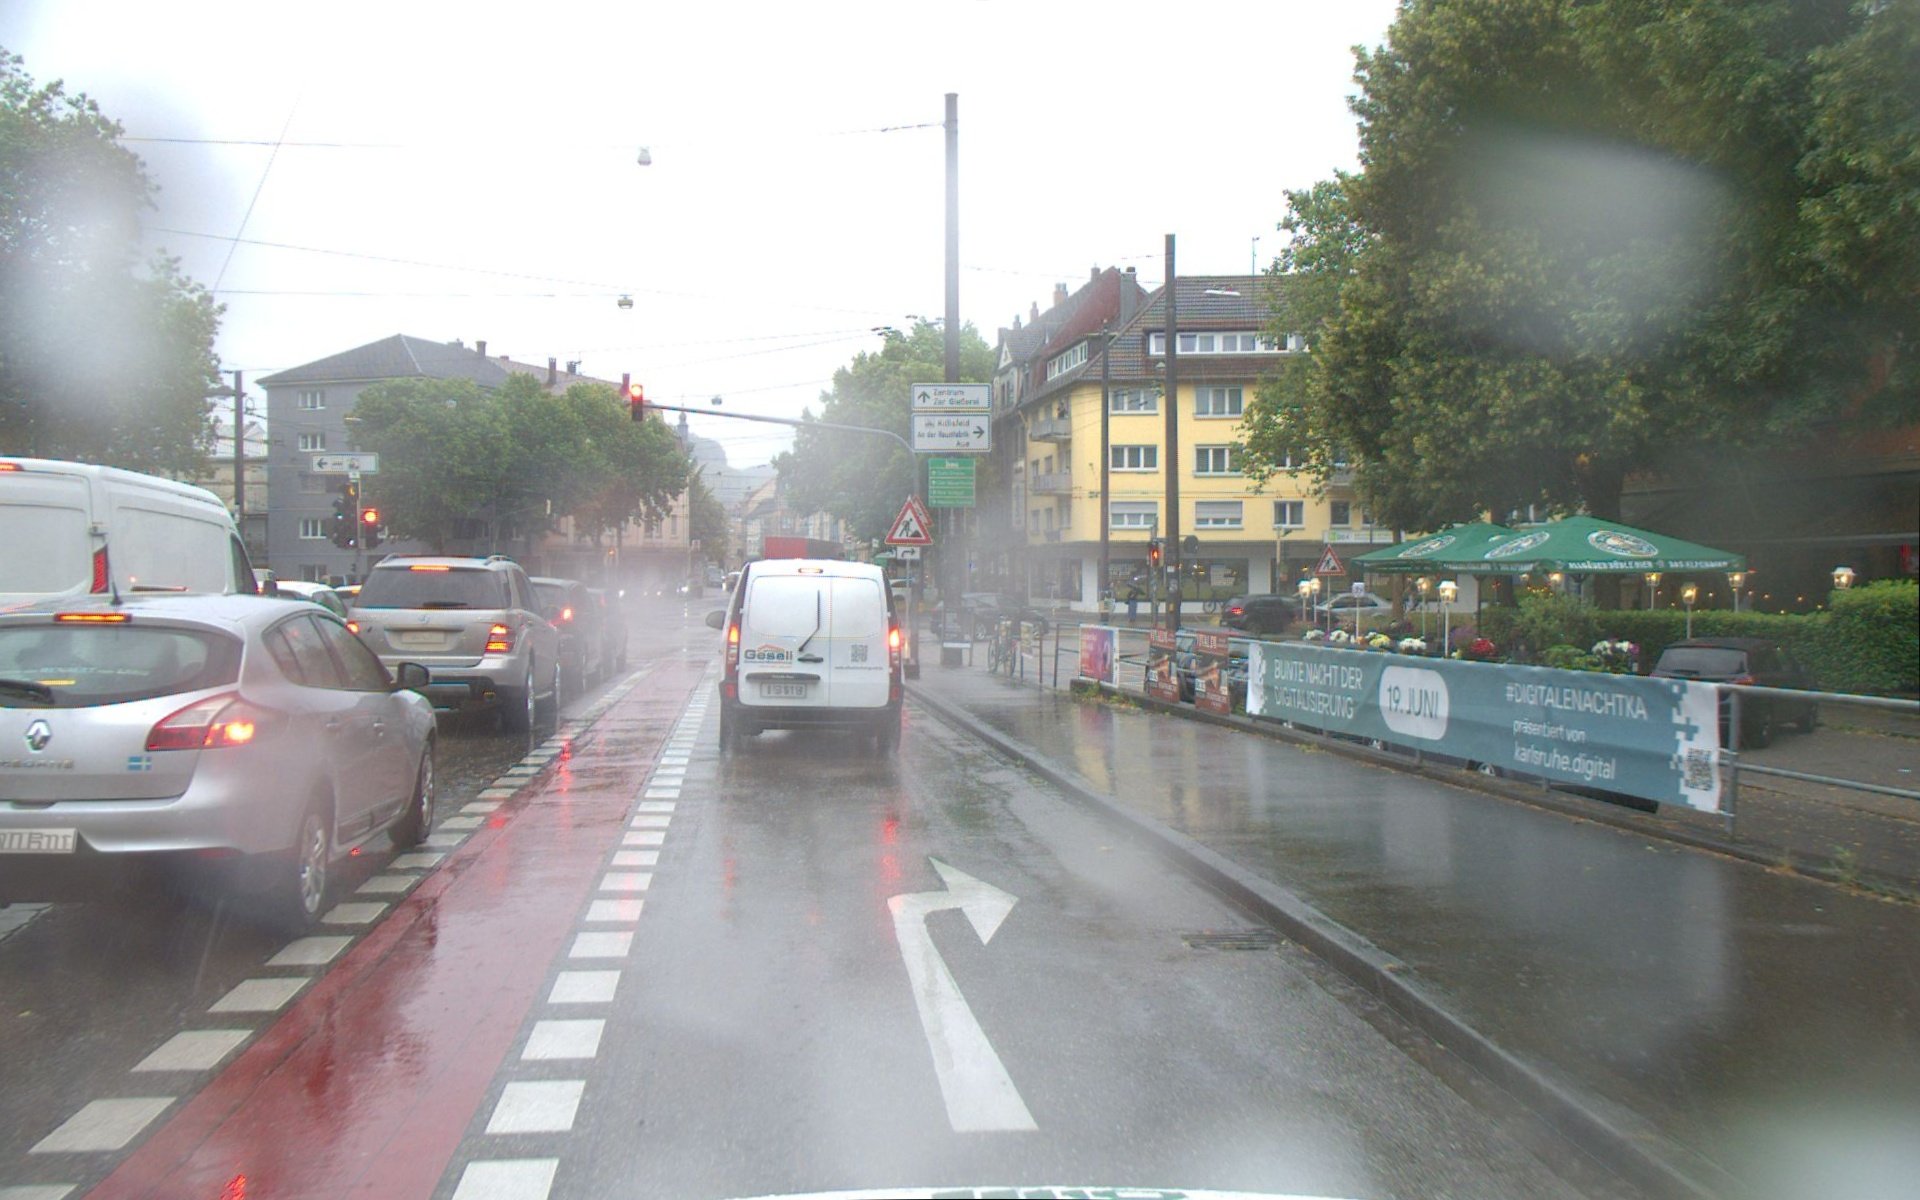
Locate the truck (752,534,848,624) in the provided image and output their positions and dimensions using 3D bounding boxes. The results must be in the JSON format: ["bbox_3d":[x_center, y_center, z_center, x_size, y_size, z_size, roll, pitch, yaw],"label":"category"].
[{"bbox_3d":[-9.835,-1.236,104.141,3.397,5.176,15.314,1,0,4],"label":"truck"}]

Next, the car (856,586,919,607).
[{"bbox_3d":[-4.168,-0.196,94.923,3.384,1.150,1.466,2,0,-15],"label":"car"}]

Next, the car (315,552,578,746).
[{"bbox_3d":[-5.387,0.468,17.966,1.987,1.801,4.454,2,0,-8],"label":"car"}]

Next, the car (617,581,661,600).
[{"bbox_3d":[-23.666,-0.704,122.044,1.909,1.260,4.004,1,2,10],"label":"car"}]

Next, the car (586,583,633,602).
[{"bbox_3d":[-24.666,-0.533,116.629,1.909,1.260,4.004,1,2,10],"label":"car"}]

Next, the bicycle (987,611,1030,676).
[{"bbox_3d":[0.904,0.797,31.264,0.504,1.126,2.014,4,0,-5],"label":"bicycle"}]

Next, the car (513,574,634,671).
[{"bbox_3d":[-6.927,0.386,29.985,1.694,1.606,3.814,2,0,-7],"label":"car"}]

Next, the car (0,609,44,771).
[{"bbox_3d":[-7.301,0.630,10.250,1.435,1.137,4.080,2,0,-8],"label":"car"}]

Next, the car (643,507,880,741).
[{"bbox_3d":[-2.052,0.224,17.146,2.060,2.047,4.955,1,0,-7],"label":"car"}]

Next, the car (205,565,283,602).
[{"bbox_3d":[-45.986,-1.108,106.341,1.952,2.236,4.791,2,2,16],"label":"car"}]

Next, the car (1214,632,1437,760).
[{"bbox_3d":[4.762,1.212,22.109,1.670,1.424,3.966,2,0,-7],"label":"car"}]

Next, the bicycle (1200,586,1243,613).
[{"bbox_3d":[12.874,-0.045,81.410,2.056,1.283,0.532,1,1,7],"label":"bicycle"}]

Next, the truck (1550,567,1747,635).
[{"bbox_3d":[22.782,0.035,54.862,5.631,2.049,2.111,2,0,-3],"label":"truck"}]

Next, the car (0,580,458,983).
[{"bbox_3d":[-3.733,0.679,8.205,1.735,1.503,3.994,2,0,-8],"label":"car"}]

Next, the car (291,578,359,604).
[{"bbox_3d":[-40.592,-0.576,105.854,1.952,1.556,4.001,1,2,20],"label":"car"}]

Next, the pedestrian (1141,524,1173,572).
[{"bbox_3d":[7.208,-1.880,60.379,0.886,1.698,1.020,1,0,22],"label":"pedestrian"}]

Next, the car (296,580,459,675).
[{"bbox_3d":[-10.125,0.453,29.060,1.809,1.510,3.994,2,0,-6],"label":"car"}]

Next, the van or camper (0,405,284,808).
[{"bbox_3d":[-8.381,0.035,15.934,2.118,3.196,5.840,0,0,-9],"label":"van or camper"}]

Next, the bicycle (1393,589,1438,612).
[{"bbox_3d":[21.613,0.015,78.467,1.975,1.045,0.660,2,0,5],"label":"bicycle"}]

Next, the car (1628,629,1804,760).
[{"bbox_3d":[11.560,1.349,25.159,1.957,1.743,3.990,1,0,31],"label":"car"}]

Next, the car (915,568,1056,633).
[{"bbox_3d":[0.788,0.017,51.590,3.937,1.898,1.984,2,0,-26],"label":"car"}]

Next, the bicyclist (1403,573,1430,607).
[{"bbox_3d":[21.639,-0.467,78.479,1.043,1.574,0.937,1,0,4],"label":"bicyclist"}]

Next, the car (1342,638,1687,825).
[{"bbox_3d":[5.566,1.258,17.189,1.700,1.566,4.067,2,0,-9],"label":"car"}]

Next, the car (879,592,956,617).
[{"bbox_3d":[-2.422,0.256,93.221,4.096,1.362,1.515,1,1,-15],"label":"car"}]

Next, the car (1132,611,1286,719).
[{"bbox_3d":[4.084,1.037,27.620,1.672,1.467,3.521,4,1,-5],"label":"car"}]

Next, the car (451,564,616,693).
[{"bbox_3d":[-6.201,0.382,24.470,1.799,1.697,4.166,2,0,-7],"label":"car"}]

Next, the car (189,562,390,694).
[{"bbox_3d":[-9.133,0.353,22.834,1.614,1.657,3.830,1,0,-7],"label":"car"}]

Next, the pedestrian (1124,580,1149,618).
[{"bbox_3d":[7.283,-0.031,68.327,0.612,1.560,0.811,1,0,44],"label":"pedestrian"}]
